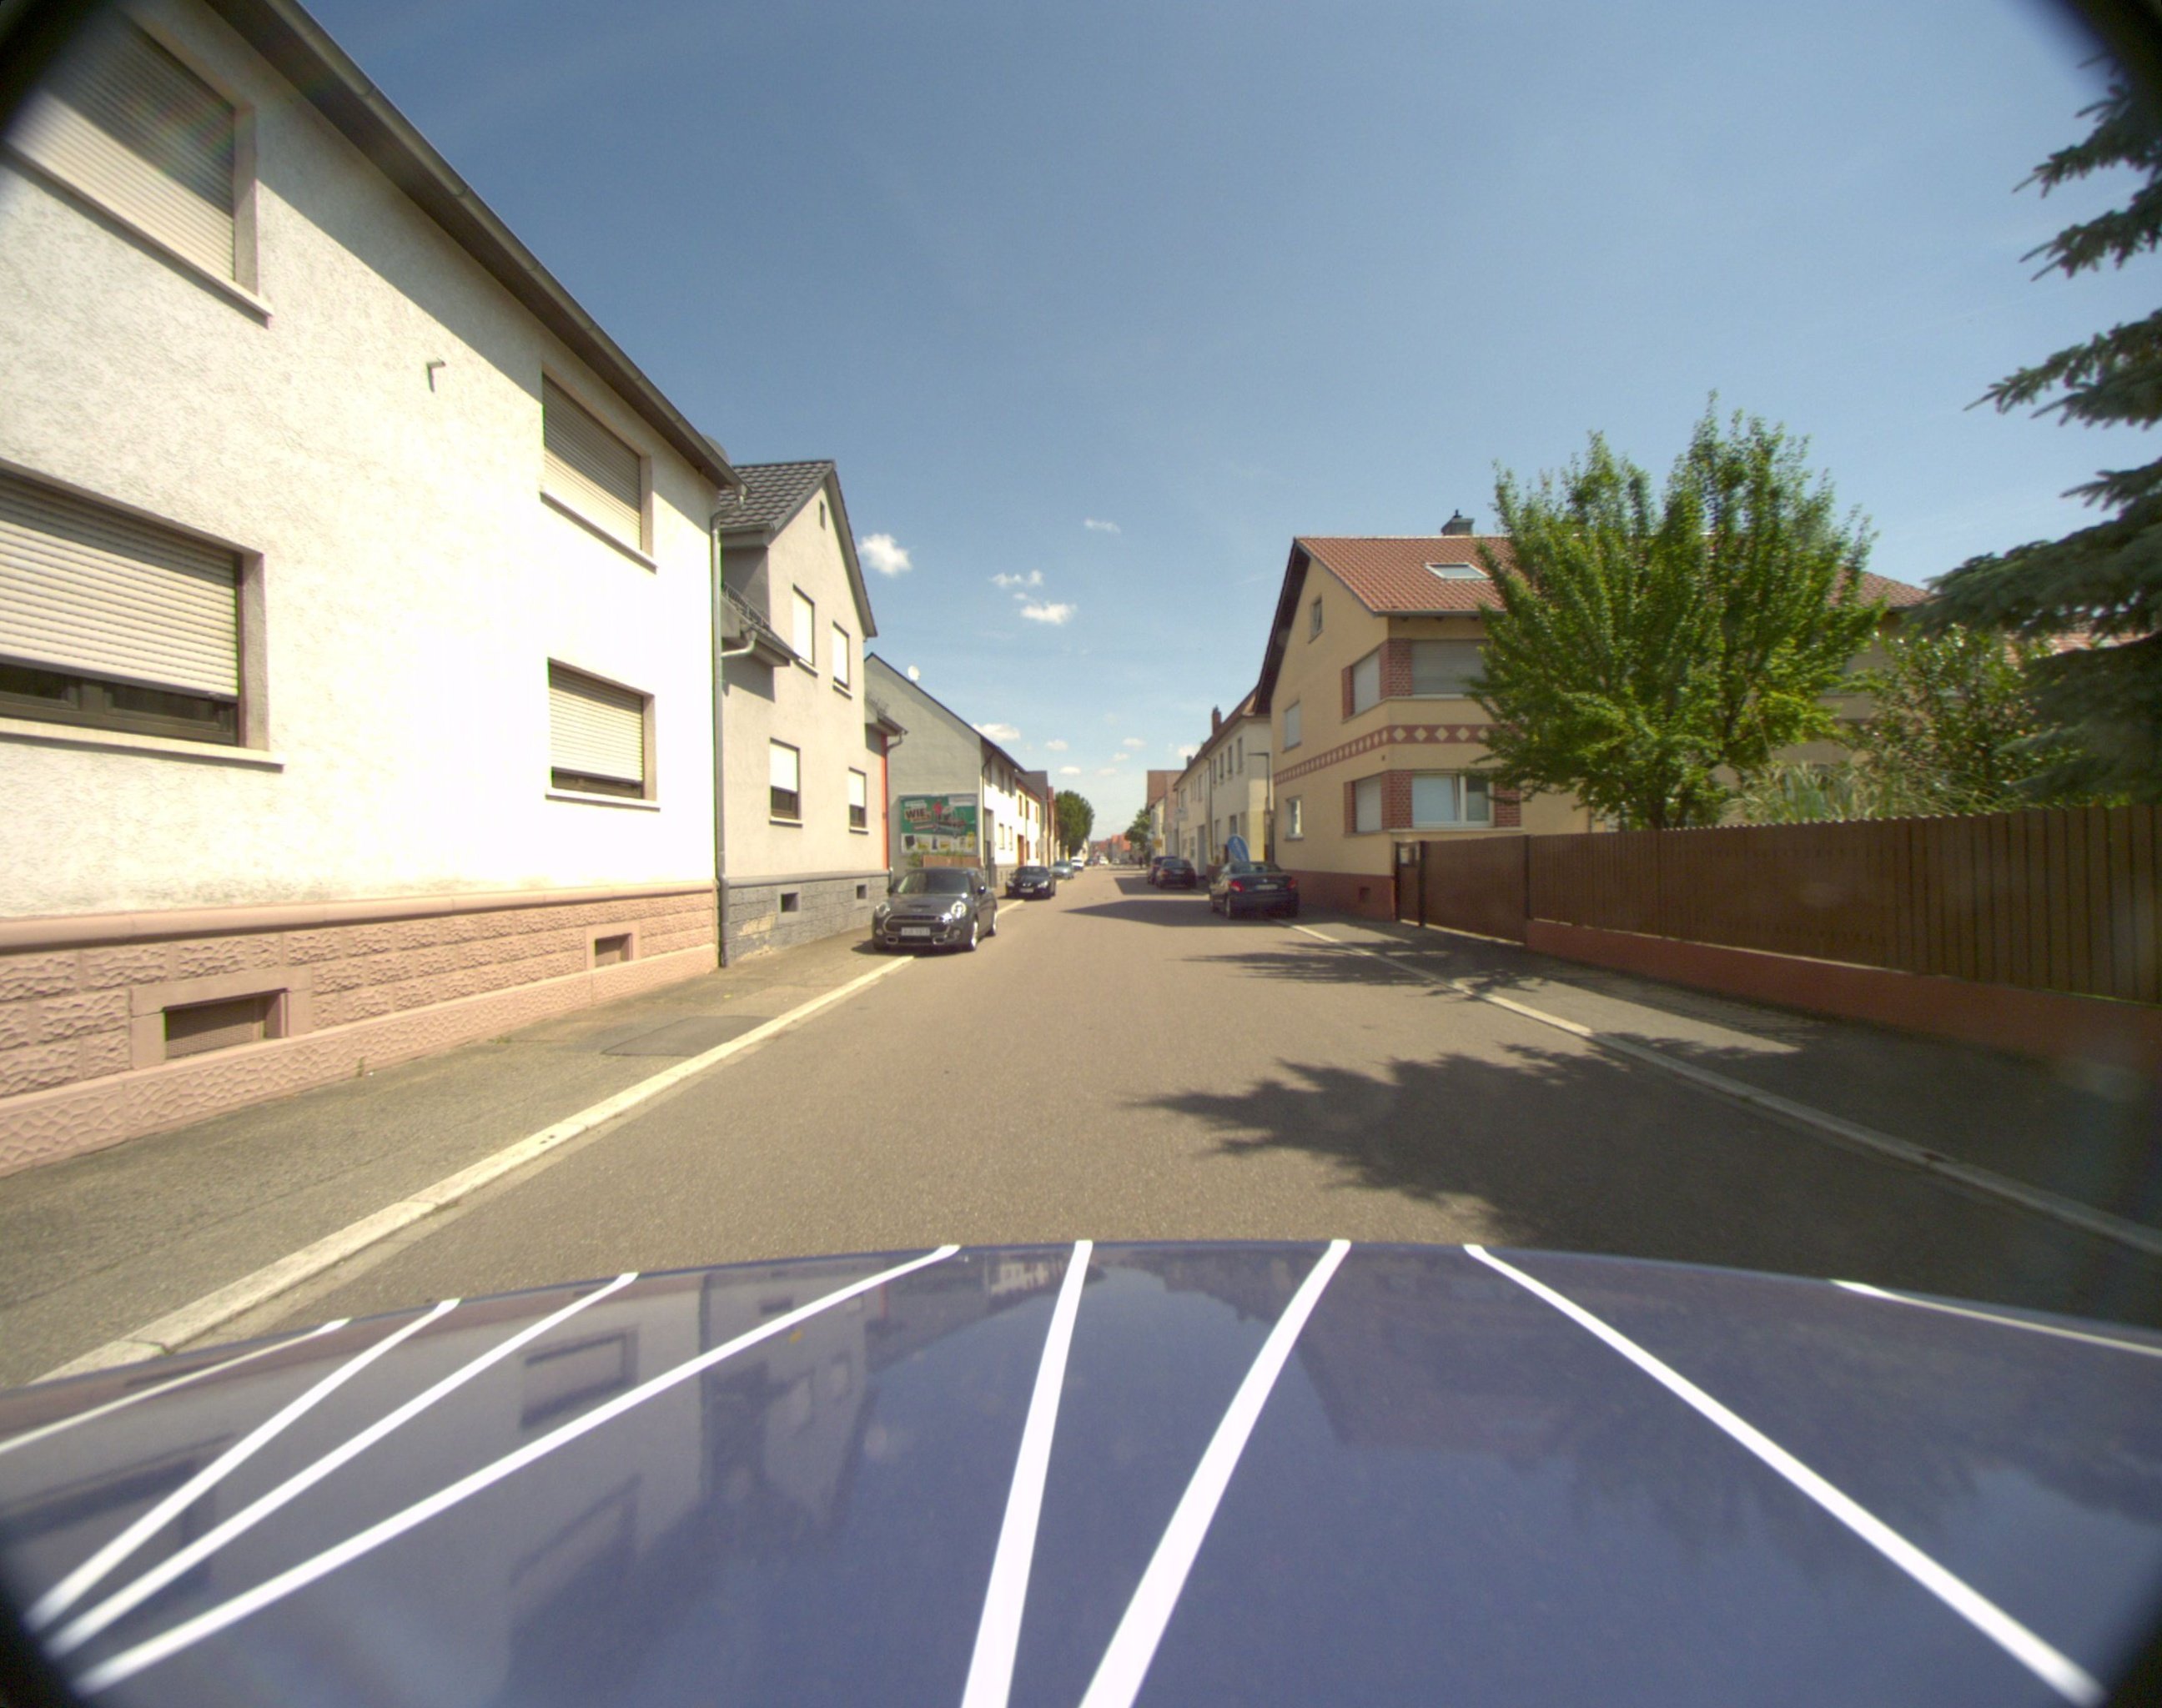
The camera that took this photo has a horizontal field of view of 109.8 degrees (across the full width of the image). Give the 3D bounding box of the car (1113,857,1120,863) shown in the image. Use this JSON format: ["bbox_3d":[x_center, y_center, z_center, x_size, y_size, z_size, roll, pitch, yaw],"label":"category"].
[{"bbox_3d":[8.896,1.536,189.101,1.598,1.385,4.169,-2,0,2],"label":"car"}]

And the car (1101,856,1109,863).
[{"bbox_3d":[5.600,1.219,177.836,1.848,1.385,4.170,-1,-2,-1],"label":"car"}]

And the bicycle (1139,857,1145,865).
[{"bbox_3d":[8.717,1.019,108.413,0.744,1.041,1.941,-2,0,5],"label":"bicycle"}]

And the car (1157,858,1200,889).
[{"bbox_3d":[4.814,0.927,37.840,1.701,1.403,4.390,-1,0,2],"label":"car"}]

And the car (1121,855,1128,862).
[{"bbox_3d":[9.972,0.956,174.125,1.726,1.385,4.171,-1,-2,3],"label":"car"}]

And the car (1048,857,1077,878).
[{"bbox_3d":[-1.395,1.045,58.919,1.725,1.473,3.751,2,0,6],"label":"car"}]

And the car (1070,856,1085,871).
[{"bbox_3d":[-0.396,1.134,95.238,1.692,1.831,4.765,2,0,2],"label":"car"}]

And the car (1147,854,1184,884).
[{"bbox_3d":[4.869,0.823,44.385,1.721,1.630,4.149,1,0,1],"label":"car"}]

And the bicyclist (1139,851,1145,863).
[{"bbox_3d":[8.704,0.449,108.400,0.748,1.627,0.957,-2,0,5],"label":"bicyclist"}]

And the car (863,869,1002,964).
[{"bbox_3d":[-2.559,1.025,13.904,1.692,1.414,3.657,-1,0,2],"label":"car"}]

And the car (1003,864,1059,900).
[{"bbox_3d":[-1.951,1.081,30.792,1.820,1.268,4.147,-1,0,3],"label":"car"}]

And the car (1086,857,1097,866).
[{"bbox_3d":[1.960,1.352,139.192,1.597,1.533,4.201,-3,0,4],"label":"car"}]

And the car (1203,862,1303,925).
[{"bbox_3d":[4.353,0.956,19.818,1.765,1.366,4.066,-2,0,2],"label":"car"}]
